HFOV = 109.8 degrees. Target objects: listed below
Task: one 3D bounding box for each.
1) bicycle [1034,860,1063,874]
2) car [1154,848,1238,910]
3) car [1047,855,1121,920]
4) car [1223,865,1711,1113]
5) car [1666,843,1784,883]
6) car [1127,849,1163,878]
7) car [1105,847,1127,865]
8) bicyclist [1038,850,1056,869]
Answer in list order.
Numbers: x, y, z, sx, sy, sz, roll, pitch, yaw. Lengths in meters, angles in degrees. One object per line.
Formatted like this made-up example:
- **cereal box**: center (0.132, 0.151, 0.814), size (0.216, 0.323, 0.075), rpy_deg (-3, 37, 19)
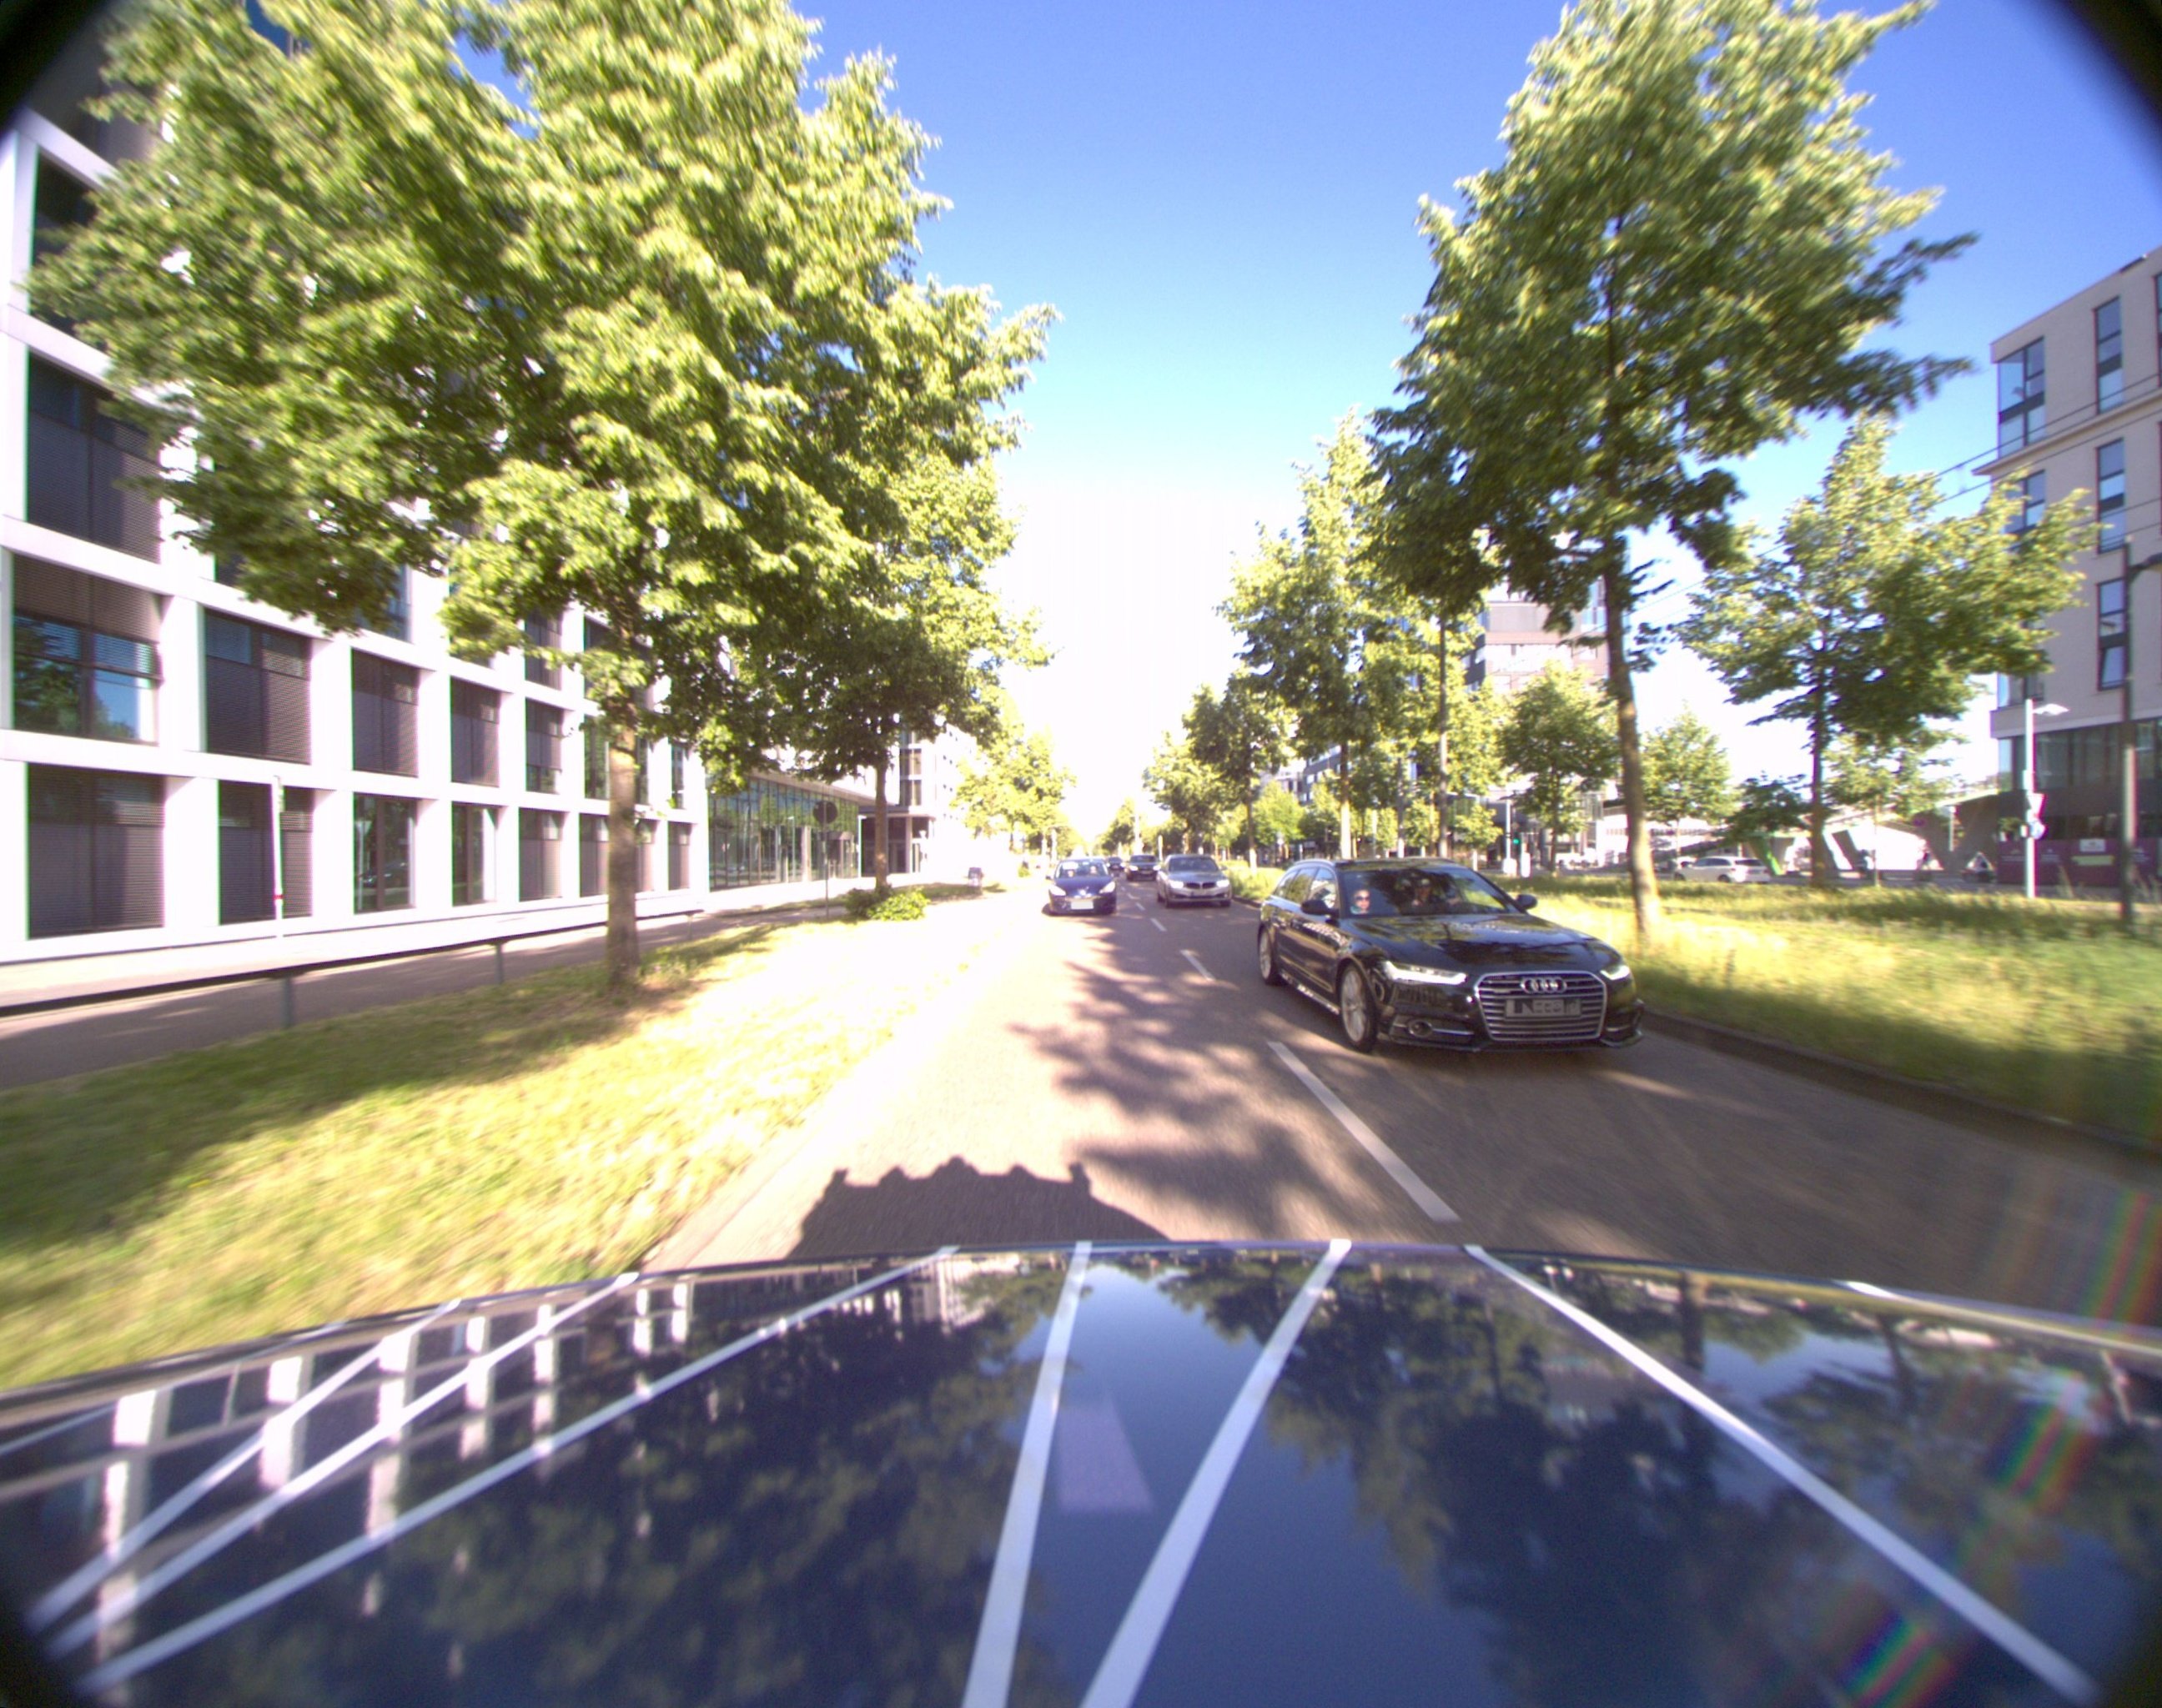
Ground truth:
- **bicycle**: center (-2.195, 0.867, 51.774), size (1.927, 0.899, 0.647), rpy_deg (-1, 1, 4)
- **car**: center (3.286, 0.653, 22.485), size (1.886, 1.569, 4.277), rpy_deg (-2, 1, 1)
- **car**: center (0.155, 0.830, 20.667), size (1.766, 1.462, 4.000), rpy_deg (-2, 1, 2)
- **car**: center (2.831, 0.855, 7.172), size (1.958, 1.471, 5.085), rpy_deg (-1, -1, -1)
- **car**: center (32.111, 0.389, 38.092), size (2.106, 1.798, 4.420), rpy_deg (-2, 1, -1)
- **car**: center (3.668, 0.510, 44.228), size (1.950, 1.514, 4.000), rpy_deg (-2, 1, 3)
- **car**: center (3.154, 0.161, 69.013), size (1.782, 1.571, 3.783), rpy_deg (-2, 1, 1)
- **bicyclist**: center (-2.313, 0.367, 51.777), size (1.086, 1.315, 0.639), rpy_deg (-1, 1, 4)
